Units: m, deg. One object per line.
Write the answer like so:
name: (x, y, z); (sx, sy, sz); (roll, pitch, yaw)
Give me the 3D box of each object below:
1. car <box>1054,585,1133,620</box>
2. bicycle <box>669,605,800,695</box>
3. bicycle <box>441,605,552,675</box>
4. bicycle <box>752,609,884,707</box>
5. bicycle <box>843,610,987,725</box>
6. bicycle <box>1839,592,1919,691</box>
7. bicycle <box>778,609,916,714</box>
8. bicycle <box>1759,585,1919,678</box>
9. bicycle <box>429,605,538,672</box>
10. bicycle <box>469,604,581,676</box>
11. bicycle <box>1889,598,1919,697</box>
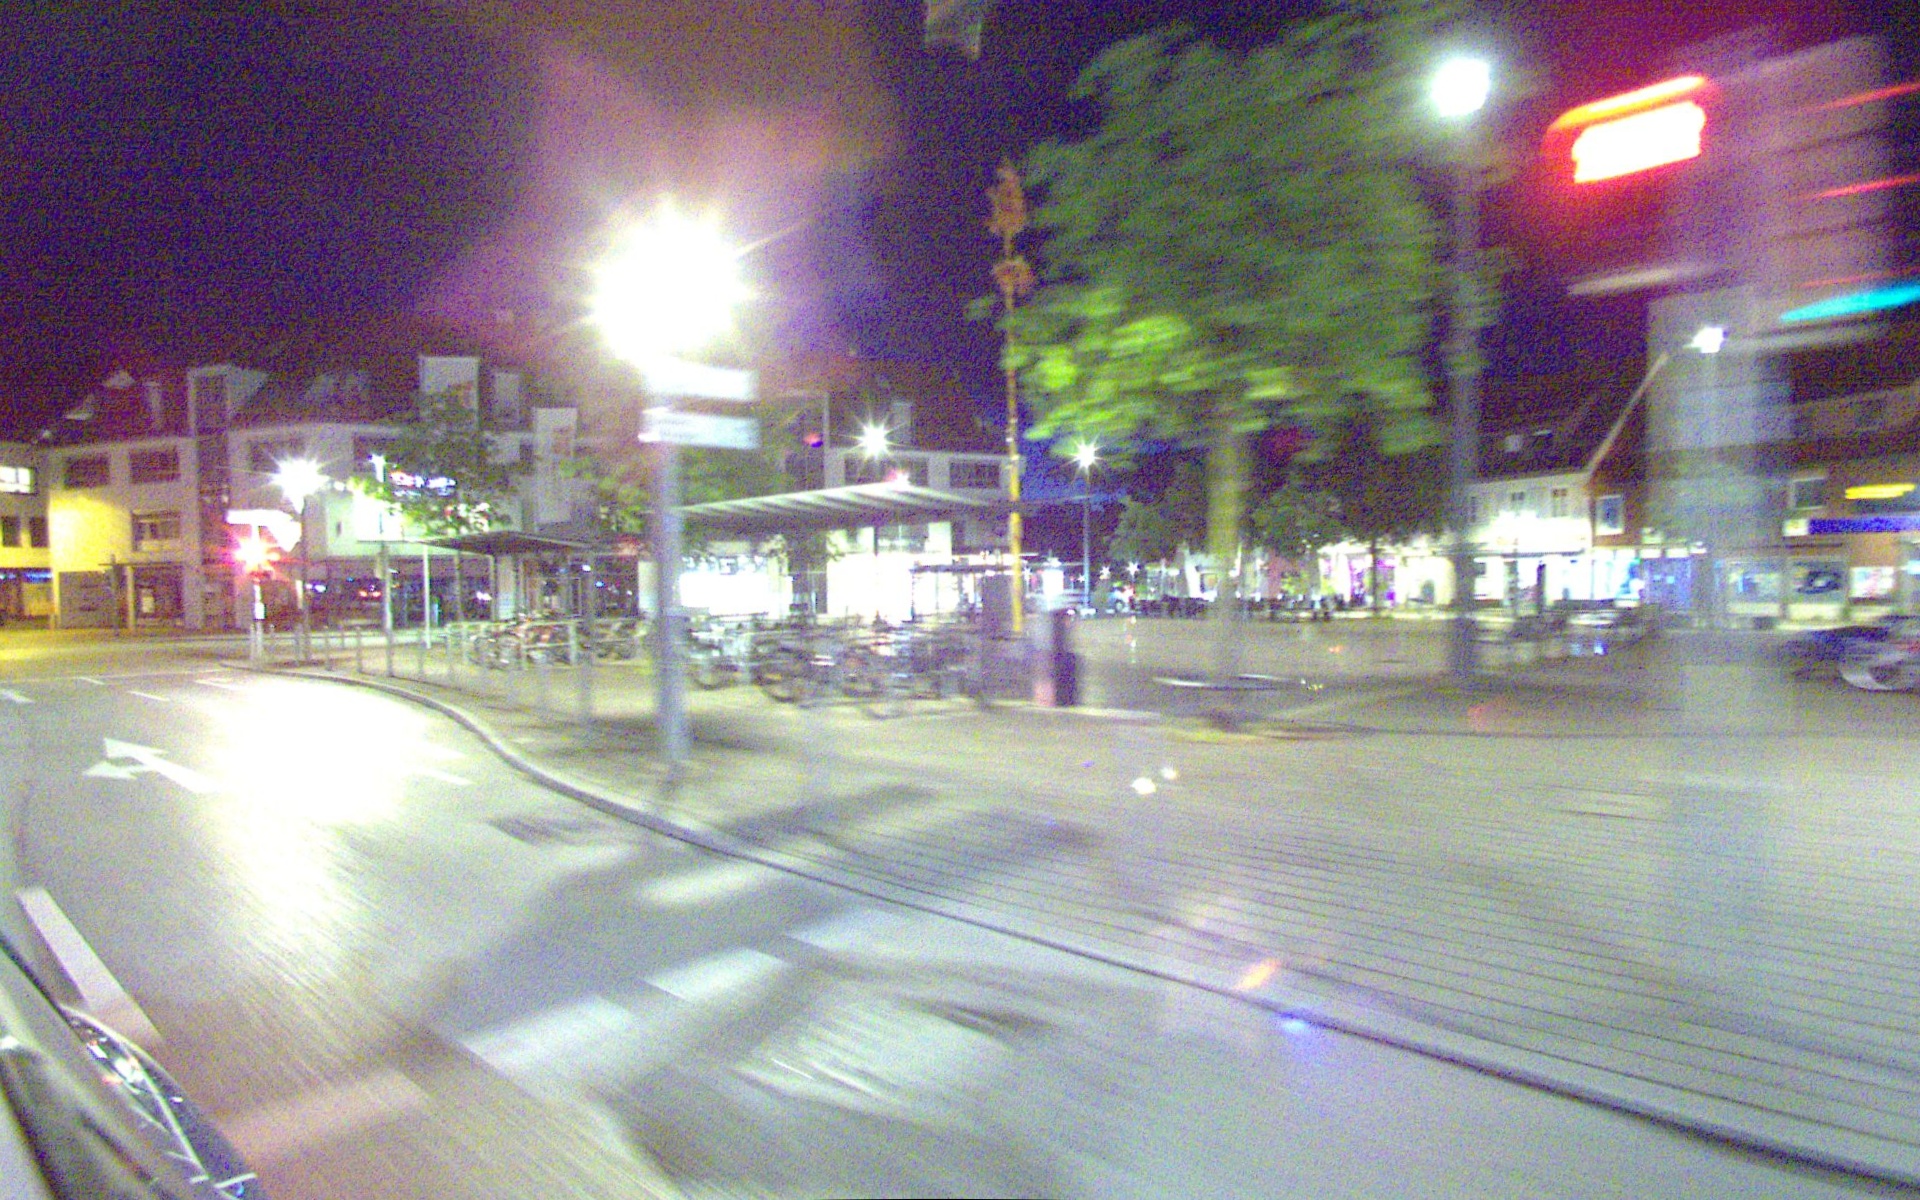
car: (7.817, 0.139, 59.210); (4.344, 1.951, 1.966); (-1, -1, -33)
bicycle: (-3.169, 0.671, 14.358); (0.670, 1.173, 1.750); (-1, 0, 42)
bicycle: (-8.865, 0.739, 19.390); (1.714, 1.166, 0.788); (-5, 4, -43)
bicycle: (-1.778, 0.692, 12.811); (0.670, 1.114, 1.599); (0, 1, 42)
bicycle: (-0.470, 0.700, 11.184); (0.670, 1.114, 1.599); (0, 2, 42)
bicycle: (11.750, 0.481, 12.087); (1.737, 1.174, 0.604); (-2, -1, 25)
bicycle: (-1.334, 0.700, 12.178); (0.670, 1.114, 1.599); (0, 2, 42)
bicycle: (12.226, 0.442, 13.960); (1.737, 1.228, 0.604); (-2, -1, 25)
bicycle: (-9.714, 0.757, 20.683); (1.812, 1.166, 0.788); (-5, 4, -43)
bicycle: (-8.157, 0.721, 19.009); (1.714, 1.175, 0.788); (-5, 2, -43)
bicycle: (11.724, 0.513, 11.384); (1.737, 1.109, 0.604); (-2, -1, 25)
